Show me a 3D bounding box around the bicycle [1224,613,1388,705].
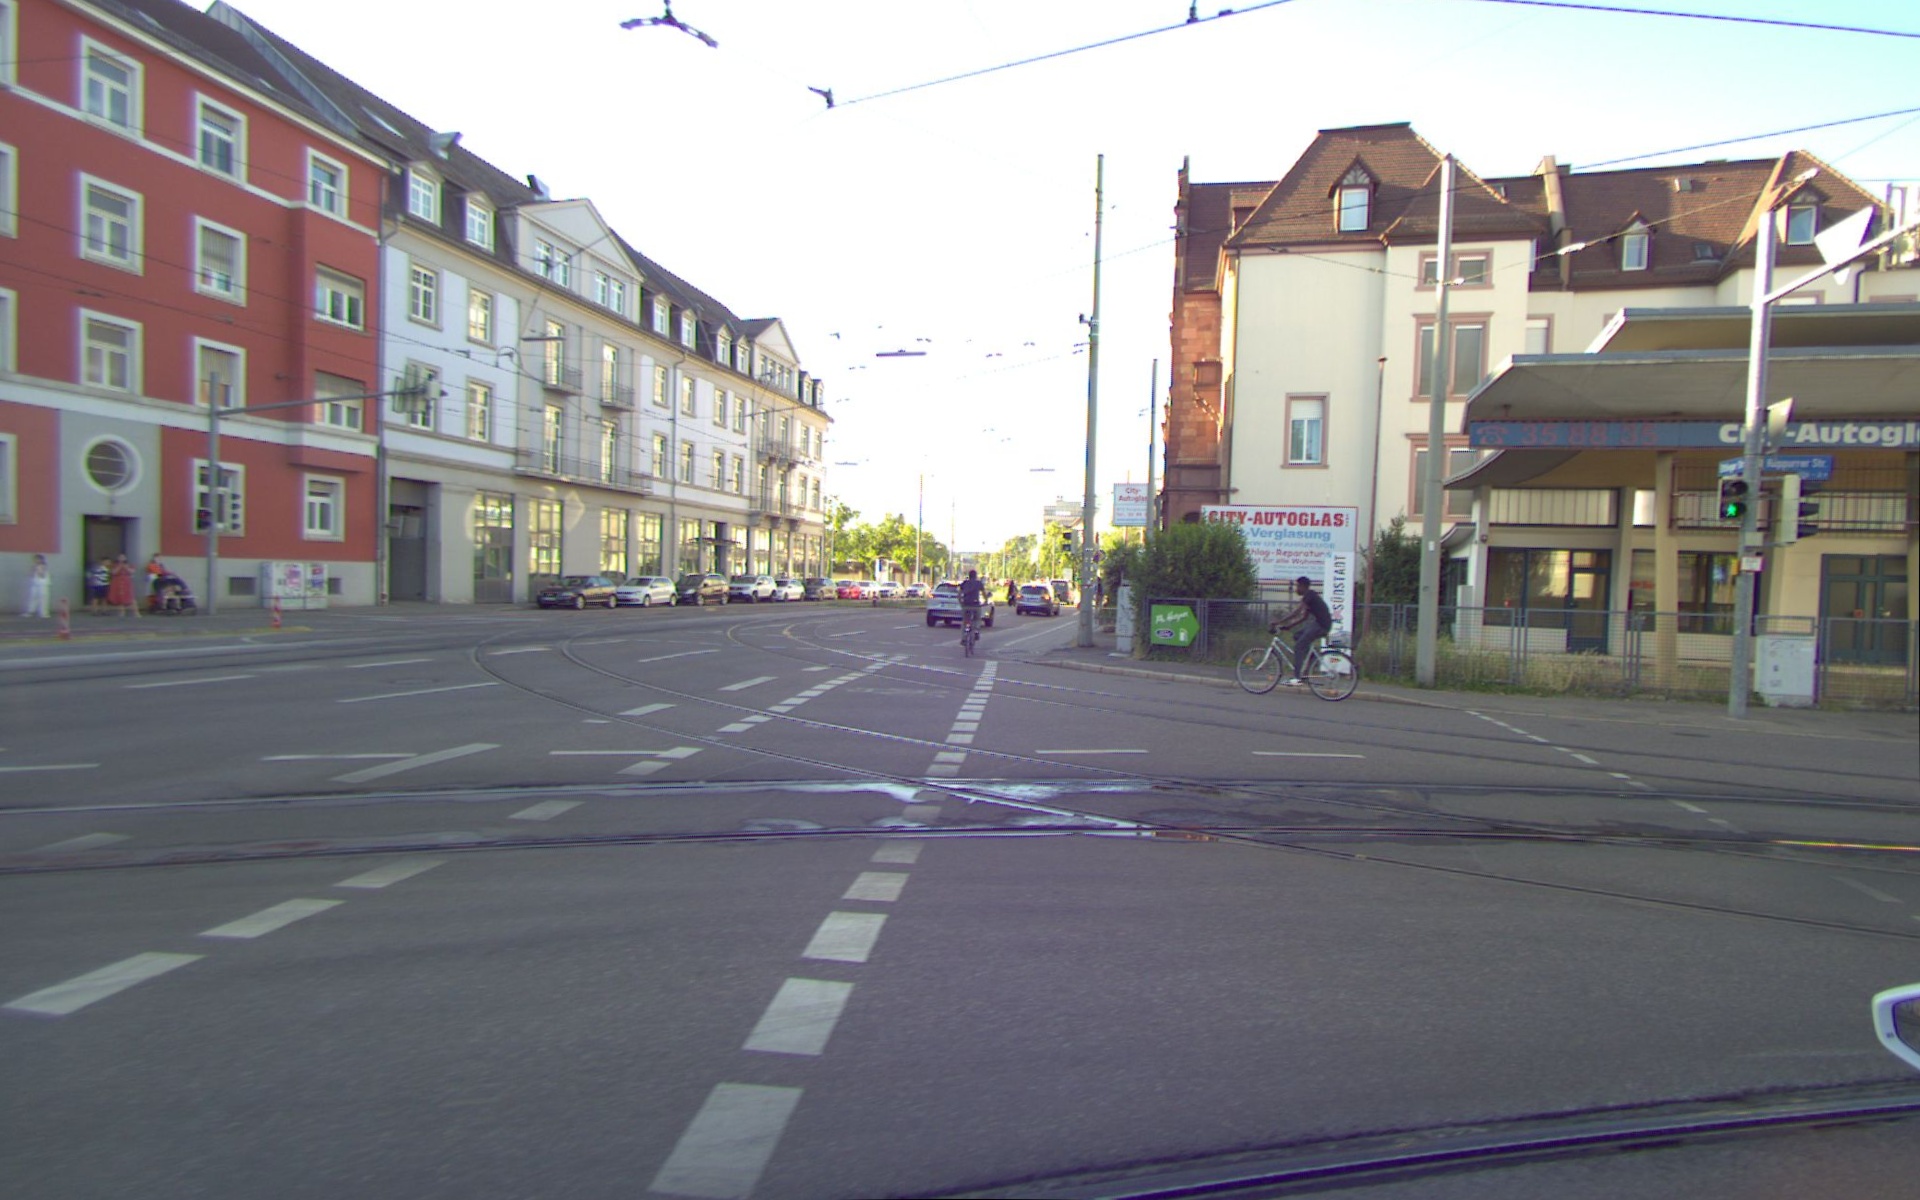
[{"bbox_3d":[4.970,0.809,14.476,2.030,1.140,0.893,3,2,34],"label":"bicycle"}]

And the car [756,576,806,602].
[{"bbox_3d":[-11.288,-0.713,63.520,1.690,1.573,4.002,2,1,13],"label":"car"}]

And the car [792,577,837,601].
[{"bbox_3d":[-9.893,-0.754,68.410,1.690,1.573,4.002,2,1,13],"label":"car"}]

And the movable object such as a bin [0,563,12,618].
[{"bbox_3d":[-22.724,-0.229,22.987,0.856,1.266,1.233,2,1,19],"label":"movable object such as a bin"}]

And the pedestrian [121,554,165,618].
[{"bbox_3d":[-21.732,-0.368,26.733,0.644,1.655,0.792,1,1,-19],"label":"pedestrian"}]

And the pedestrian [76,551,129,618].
[{"bbox_3d":[-21.751,-0.403,25.505,0.820,1.655,0.790,1,2,-25],"label":"pedestrian"}]

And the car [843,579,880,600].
[{"bbox_3d":[-7.687,-0.850,78.890,1.690,1.573,4.002,2,1,13],"label":"car"}]

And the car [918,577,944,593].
[{"bbox_3d":[-2.972,-1.541,103.604,1.690,1.573,4.002,2,1,13],"label":"car"}]

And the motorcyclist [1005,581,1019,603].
[{"bbox_3d":[3.389,-0.532,65.910,0.764,1.442,0.891,2,2,10],"label":"motorcyclist"}]

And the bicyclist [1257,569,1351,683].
[{"bbox_3d":[4.969,0.353,14.506,1.034,1.547,0.876,2,1,35],"label":"bicyclist"}]

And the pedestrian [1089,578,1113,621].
[{"bbox_3d":[6.148,-0.033,43.871,0.860,1.849,1.185,2,1,14],"label":"pedestrian"}]

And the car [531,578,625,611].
[{"bbox_3d":[-15.688,-0.242,41.493,1.690,1.249,4.002,2,1,13],"label":"car"}]

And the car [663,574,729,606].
[{"bbox_3d":[-13.550,-0.527,51.813,1.690,1.573,3.858,2,1,13],"label":"car"}]

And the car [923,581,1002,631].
[{"bbox_3d":[0.167,0.152,34.942,1.914,1.549,4.091,3,1,12],"label":"car"}]

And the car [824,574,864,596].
[{"bbox_3d":[-8.529,-1.091,74.209,1.690,1.573,4.002,2,1,13],"label":"car"}]

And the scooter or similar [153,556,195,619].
[{"bbox_3d":[-21.086,-0.347,26.975,0.644,1.655,0.792,1,1,-19],"label":"scooter or similar"}]

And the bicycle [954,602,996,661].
[{"bbox_3d":[0.326,0.625,20.697,0.758,1.101,1.871,2,1,3],"label":"bicycle"}]

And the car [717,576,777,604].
[{"bbox_3d":[-12.335,-0.593,58.487,1.804,1.573,4.276,2,1,13],"label":"car"}]

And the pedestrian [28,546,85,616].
[{"bbox_3d":[-21.949,-0.451,24.425,0.781,1.655,0.653,2,1,-9],"label":"pedestrian"}]

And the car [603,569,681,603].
[{"bbox_3d":[-14.815,-0.662,47.017,1.690,1.472,4.002,2,1,13],"label":"car"}]

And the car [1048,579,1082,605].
[{"bbox_3d":[8.695,-0.665,82.869,2.135,2.036,4.810,2,1,12],"label":"car"}]

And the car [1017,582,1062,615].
[{"bbox_3d":[4.212,-0.077,52.725,1.783,1.603,4.002,2,1,12],"label":"car"}]

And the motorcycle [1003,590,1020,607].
[{"bbox_3d":[3.393,-0.117,65.927,0.764,1.097,2.282,2,1,10],"label":"motorcycle"}]

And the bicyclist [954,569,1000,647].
[{"bbox_3d":[0.355,0.150,20.870,0.819,1.545,0.994,2,1,5],"label":"bicyclist"}]

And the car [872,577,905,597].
[{"bbox_3d":[-6.142,-1.130,87.018,1.690,1.573,4.002,2,1,13],"label":"car"}]

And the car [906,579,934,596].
[{"bbox_3d":[-3.898,-1.179,97.650,1.690,1.573,4.002,2,1,13],"label":"car"}]
